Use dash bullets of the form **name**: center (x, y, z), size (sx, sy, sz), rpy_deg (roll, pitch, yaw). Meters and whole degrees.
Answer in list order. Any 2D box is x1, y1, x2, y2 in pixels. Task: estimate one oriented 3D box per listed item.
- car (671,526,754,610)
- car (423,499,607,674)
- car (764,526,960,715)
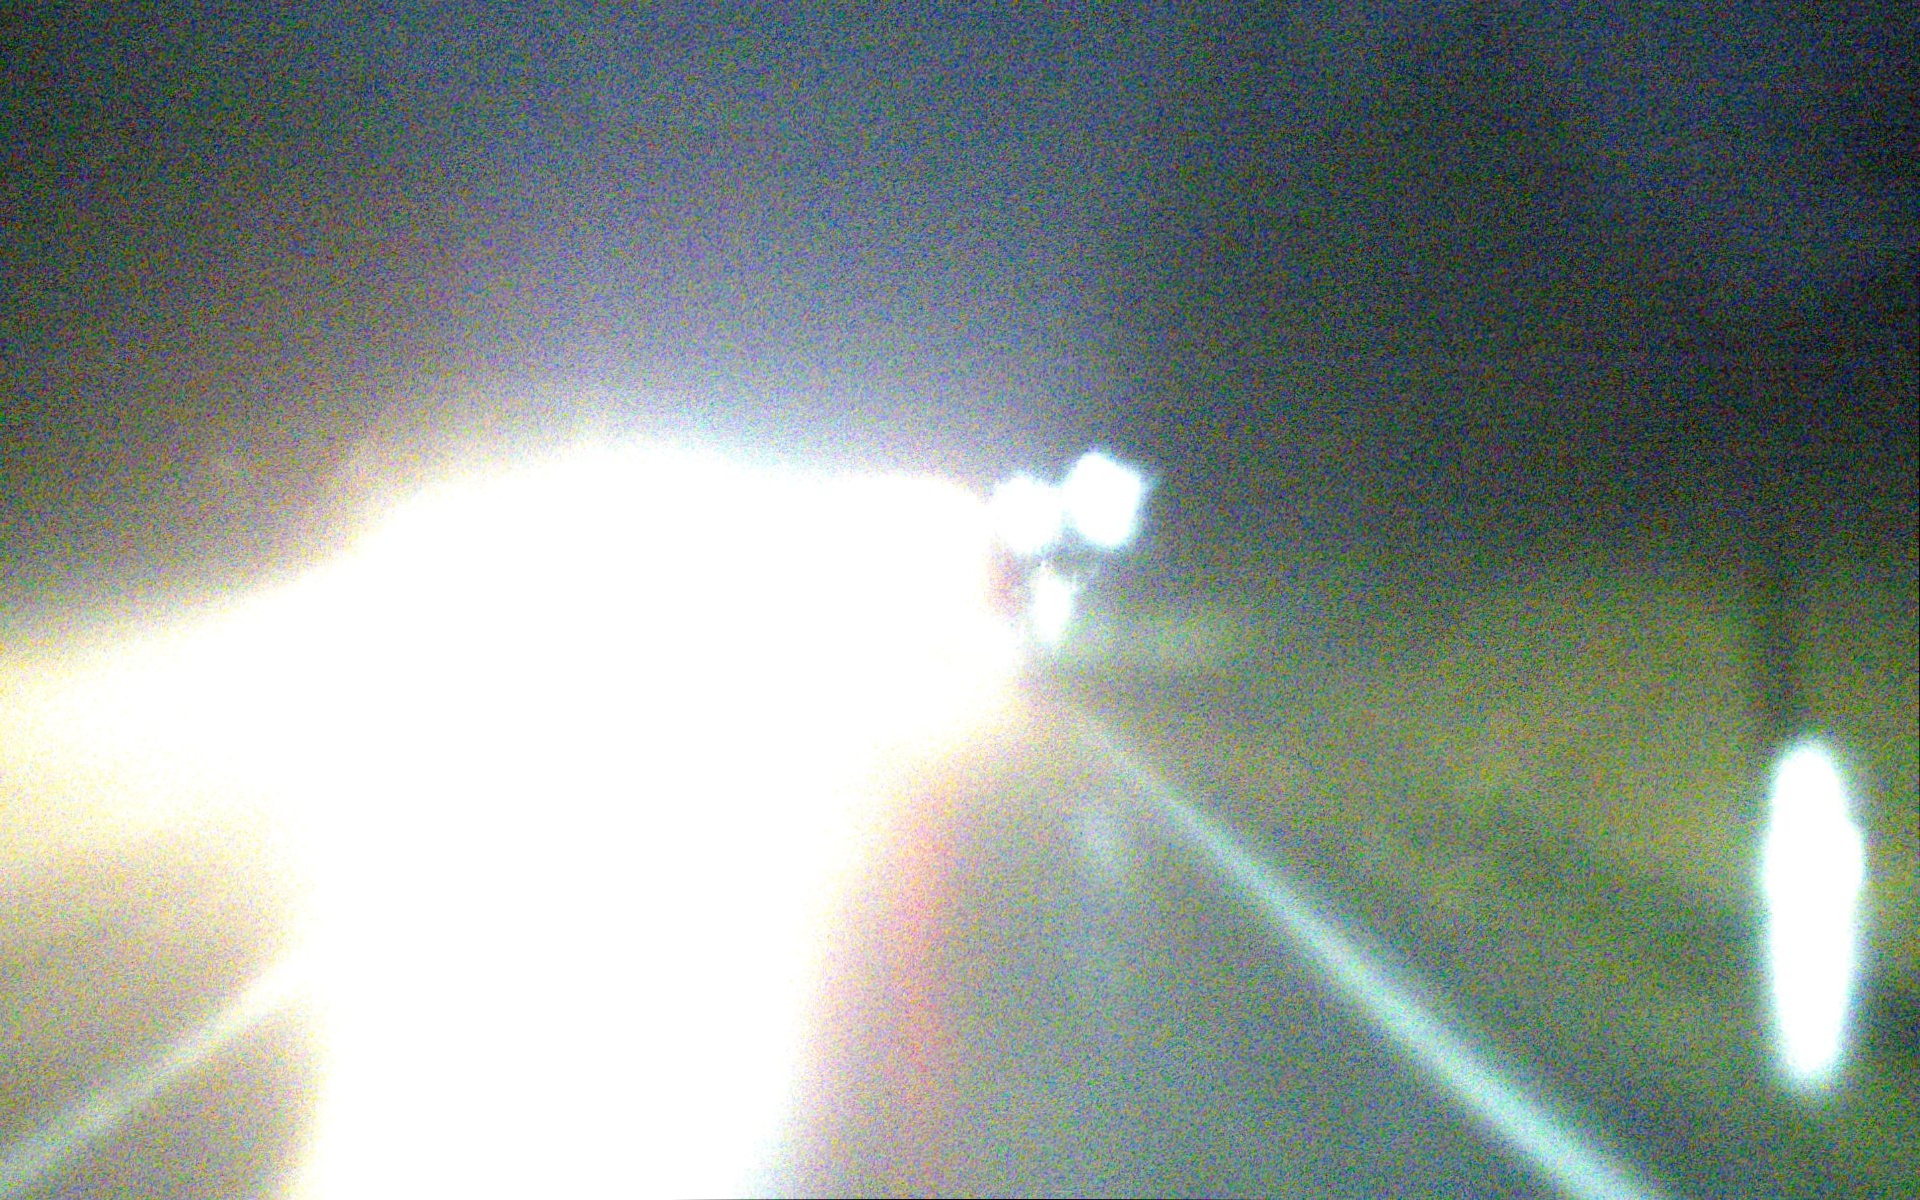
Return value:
- **car**: center (-6.247, -0.829, 86.574), size (1.993, 2.007, 4.001), rpy_deg (1, 1, -5)
- **car**: center (-5.421, -0.200, 42.300), size (1.993, 2.007, 4.001), rpy_deg (1, 1, -5)
- **car**: center (-1.132, 0.184, 39.573), size (2.093, 2.007, 4.001), rpy_deg (1, 1, -2)
